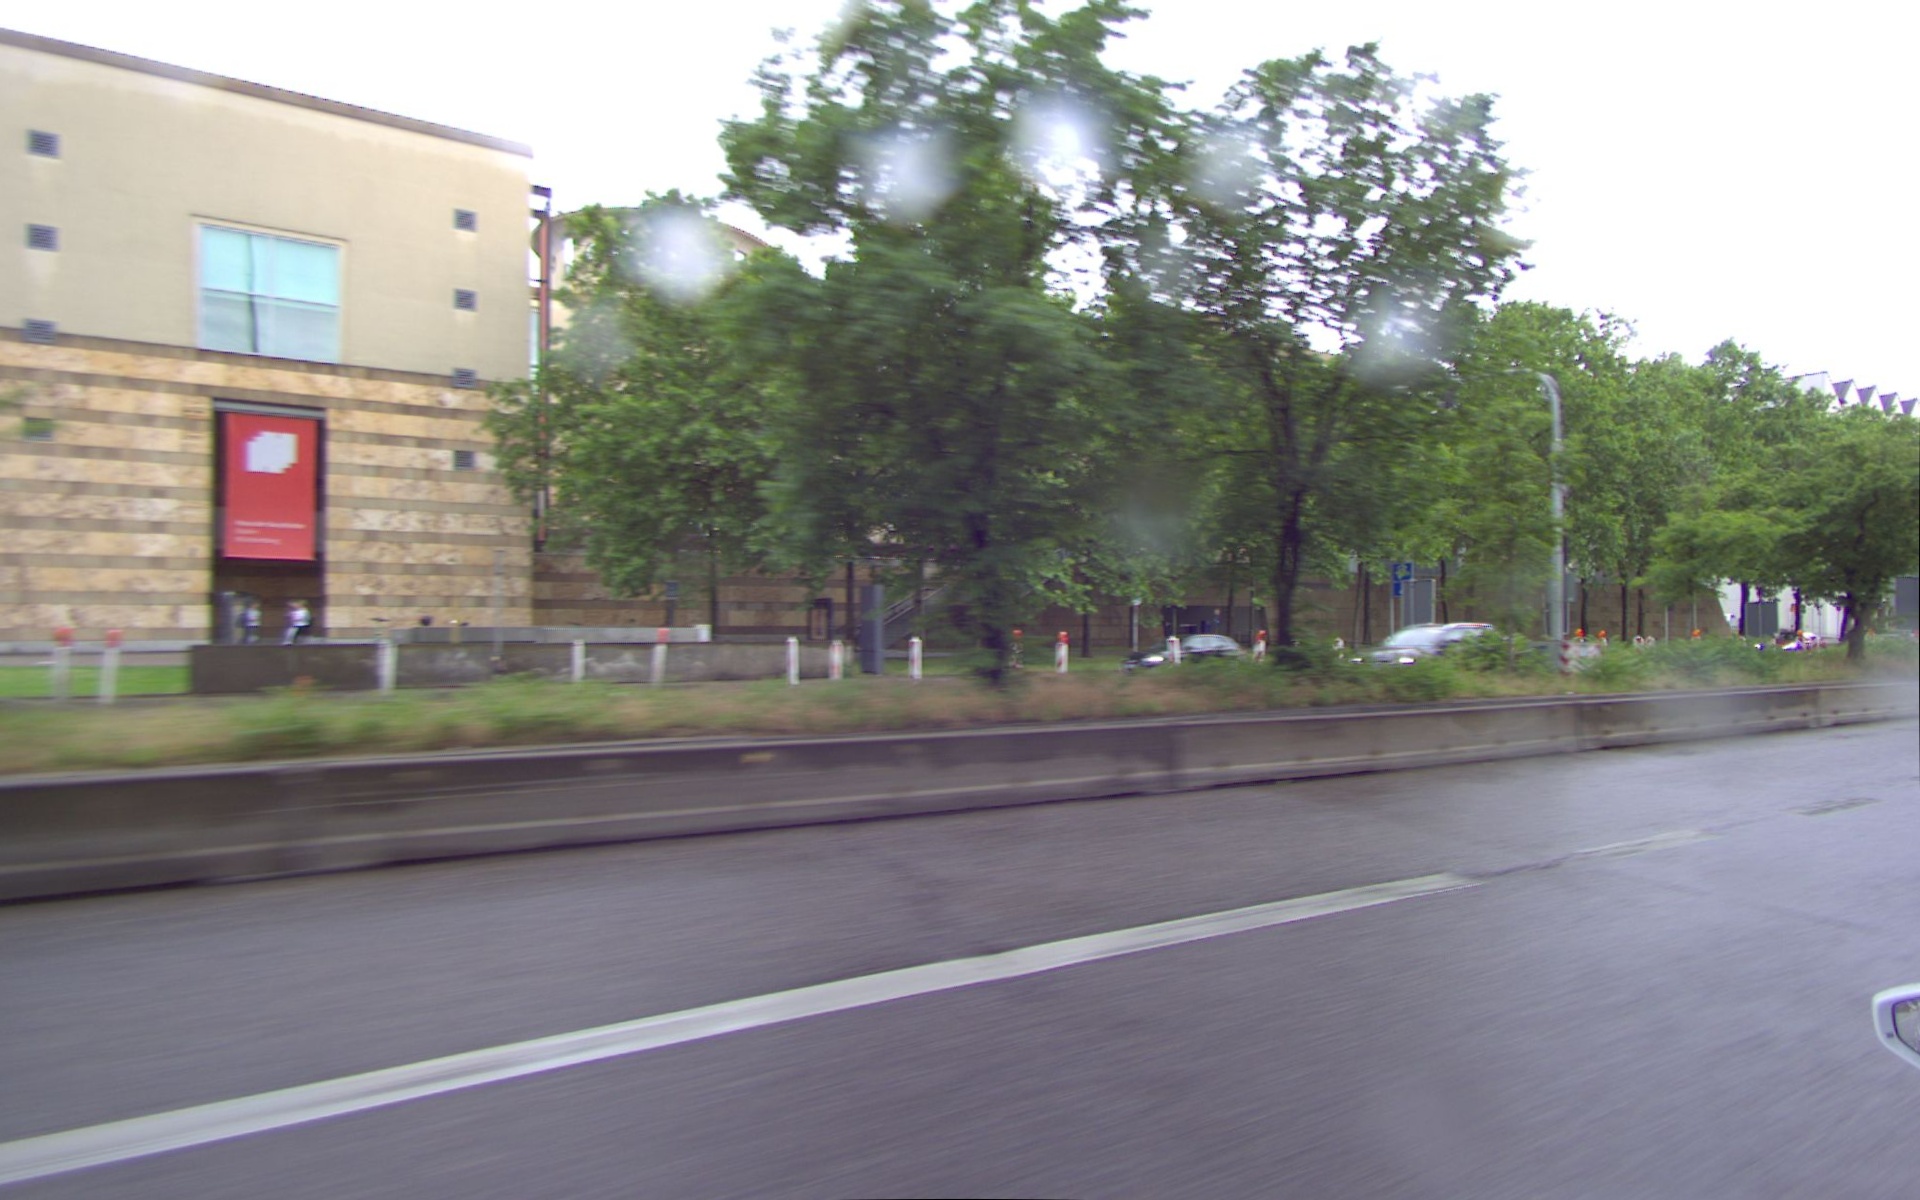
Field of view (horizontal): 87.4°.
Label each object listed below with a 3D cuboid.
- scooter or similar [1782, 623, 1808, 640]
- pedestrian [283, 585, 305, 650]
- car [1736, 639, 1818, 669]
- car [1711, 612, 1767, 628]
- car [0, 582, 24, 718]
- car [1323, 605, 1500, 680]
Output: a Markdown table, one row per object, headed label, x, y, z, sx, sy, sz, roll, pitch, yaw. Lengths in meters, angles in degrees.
| label | x | y | z | sx | sy | sz | roll | pitch | yaw |
| --- | --- | --- | --- | --- | --- | --- | --- | --- | --- |
| scooter or similar | 68.499 | 2.584 | 82.407 | 1.644 | 1.369 | 0.714 | 1 | -2 | -8 |
| pedestrian | -21.198 | 0.559 | 31.973 | 0.506 | 2.040 | 0.475 | 2 | -3 | -30 |
| car | 43.203 | 2.840 | 53.112 | 3.951 | 1.550 | 1.986 | 2 | -3 | -28 |
| car | 76.652 | 1.966 | 98.848 | 1.977 | 1.617 | 3.968 | 1 | -1 | -30 |
| car | -12.434 | 0.537 | 10.279 | 3.885 | 1.528 | 1.537 | 1 | -1 | -30 |
| car | 10.587 | 0.959 | 23.526 | 3.957 | 1.617 | 1.982 | 1 | -1 | -33 |
